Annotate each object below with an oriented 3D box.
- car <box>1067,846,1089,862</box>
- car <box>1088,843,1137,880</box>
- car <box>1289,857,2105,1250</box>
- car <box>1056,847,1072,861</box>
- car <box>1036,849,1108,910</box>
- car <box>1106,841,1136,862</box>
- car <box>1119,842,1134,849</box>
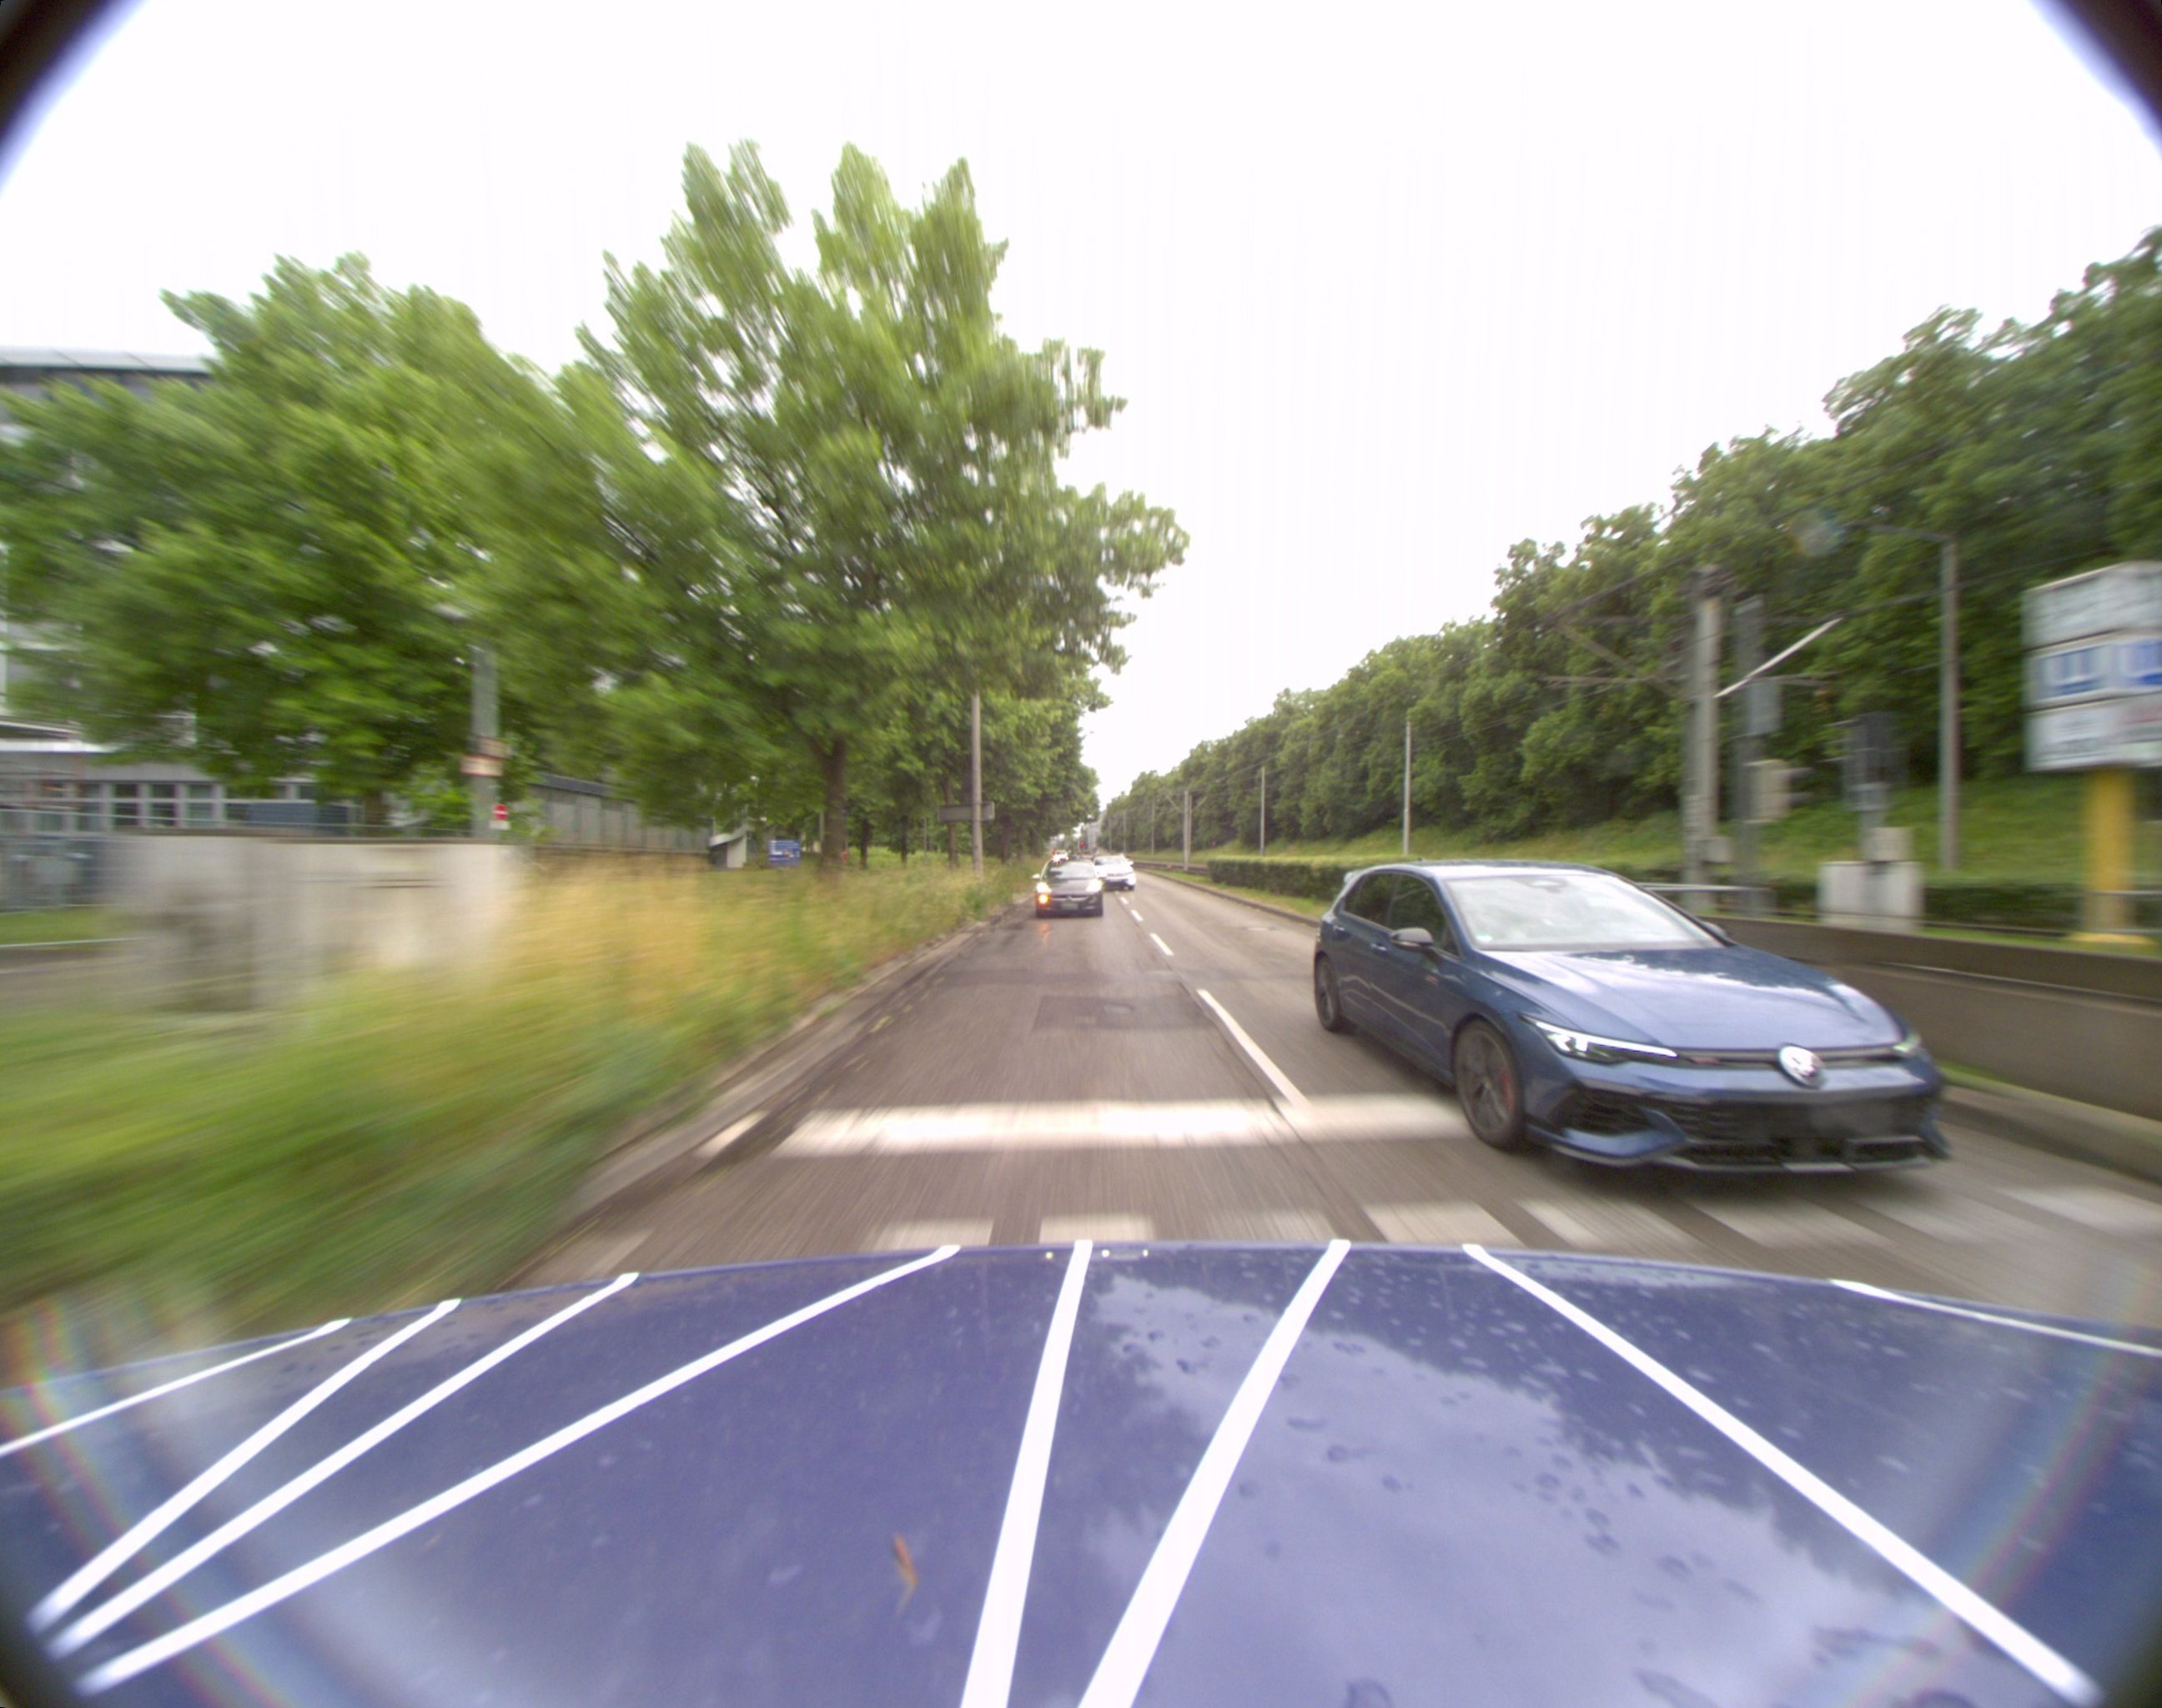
[{"bbox_3d":[-0.326,0.009,78.452,1.961,1.469,4.697,-3,1,-3],"label":"car"},{"bbox_3d":[1.357,0.266,33.411,1.960,1.457,4.699,-1,1,1],"label":"car"},{"bbox_3d":[2.878,0.747,4.982,1.813,1.370,4.346,-1,1,0],"label":"car"},{"bbox_3d":[-2.562,-0.083,112.374,1.961,1.914,4.842,-3,1,-5],"label":"car"},{"bbox_3d":[-0.278,0.594,20.497,1.711,1.425,4.427,-1,1,-1],"label":"car"},{"bbox_3d":[3.059,-0.204,59.293,1.960,1.472,4.698,-3,1,-1],"label":"car"},{"bbox_3d":[9.430,-1.778,158.118,2.000,1.423,4.427,-1,1,-10],"label":"car"}]
